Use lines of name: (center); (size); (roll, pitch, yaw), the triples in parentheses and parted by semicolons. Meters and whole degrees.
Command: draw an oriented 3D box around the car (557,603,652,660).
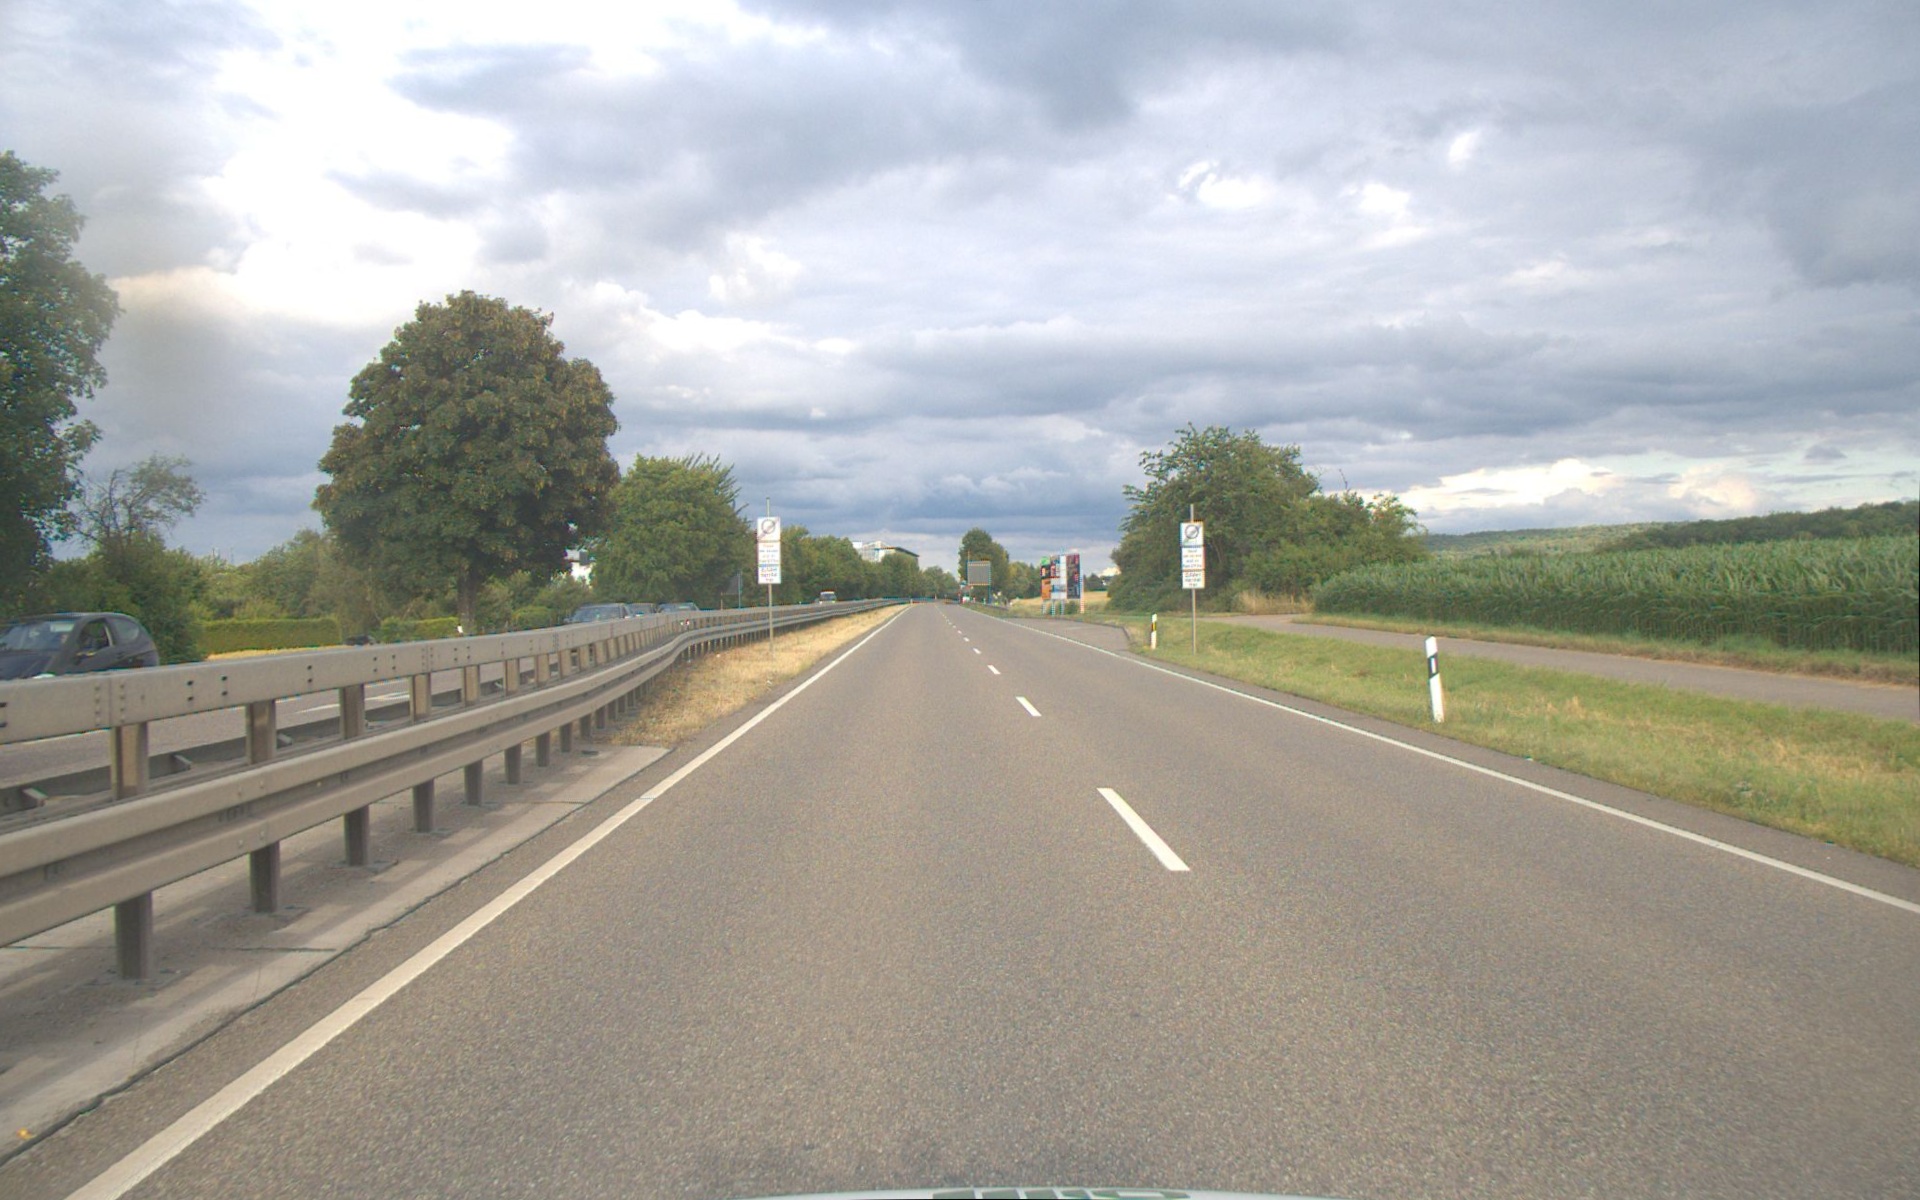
car: (-10.384, 0.889, 48.673); (1.829, 1.503, 4.824); (-2, 0, -1)

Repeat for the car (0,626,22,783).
car: (-9.509, 0.989, 13.156); (1.753, 1.410, 4.159); (-2, 0, -1)

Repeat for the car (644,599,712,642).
car: (-10.763, 0.767, 63.451); (1.829, 1.503, 4.934); (-2, 0, -1)

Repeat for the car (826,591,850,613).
car: (-12.745, 0.159, 172.920); (1.953, 2.178, 5.319); (-2, 0, 0)

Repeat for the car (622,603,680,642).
car: (-13.564, 0.957, 72.783); (1.829, 1.591, 4.150); (-2, 0, -1)

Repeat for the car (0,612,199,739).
car: (-12.898, 1.034, 24.064); (1.753, 1.601, 4.159); (-2, 0, -1)
